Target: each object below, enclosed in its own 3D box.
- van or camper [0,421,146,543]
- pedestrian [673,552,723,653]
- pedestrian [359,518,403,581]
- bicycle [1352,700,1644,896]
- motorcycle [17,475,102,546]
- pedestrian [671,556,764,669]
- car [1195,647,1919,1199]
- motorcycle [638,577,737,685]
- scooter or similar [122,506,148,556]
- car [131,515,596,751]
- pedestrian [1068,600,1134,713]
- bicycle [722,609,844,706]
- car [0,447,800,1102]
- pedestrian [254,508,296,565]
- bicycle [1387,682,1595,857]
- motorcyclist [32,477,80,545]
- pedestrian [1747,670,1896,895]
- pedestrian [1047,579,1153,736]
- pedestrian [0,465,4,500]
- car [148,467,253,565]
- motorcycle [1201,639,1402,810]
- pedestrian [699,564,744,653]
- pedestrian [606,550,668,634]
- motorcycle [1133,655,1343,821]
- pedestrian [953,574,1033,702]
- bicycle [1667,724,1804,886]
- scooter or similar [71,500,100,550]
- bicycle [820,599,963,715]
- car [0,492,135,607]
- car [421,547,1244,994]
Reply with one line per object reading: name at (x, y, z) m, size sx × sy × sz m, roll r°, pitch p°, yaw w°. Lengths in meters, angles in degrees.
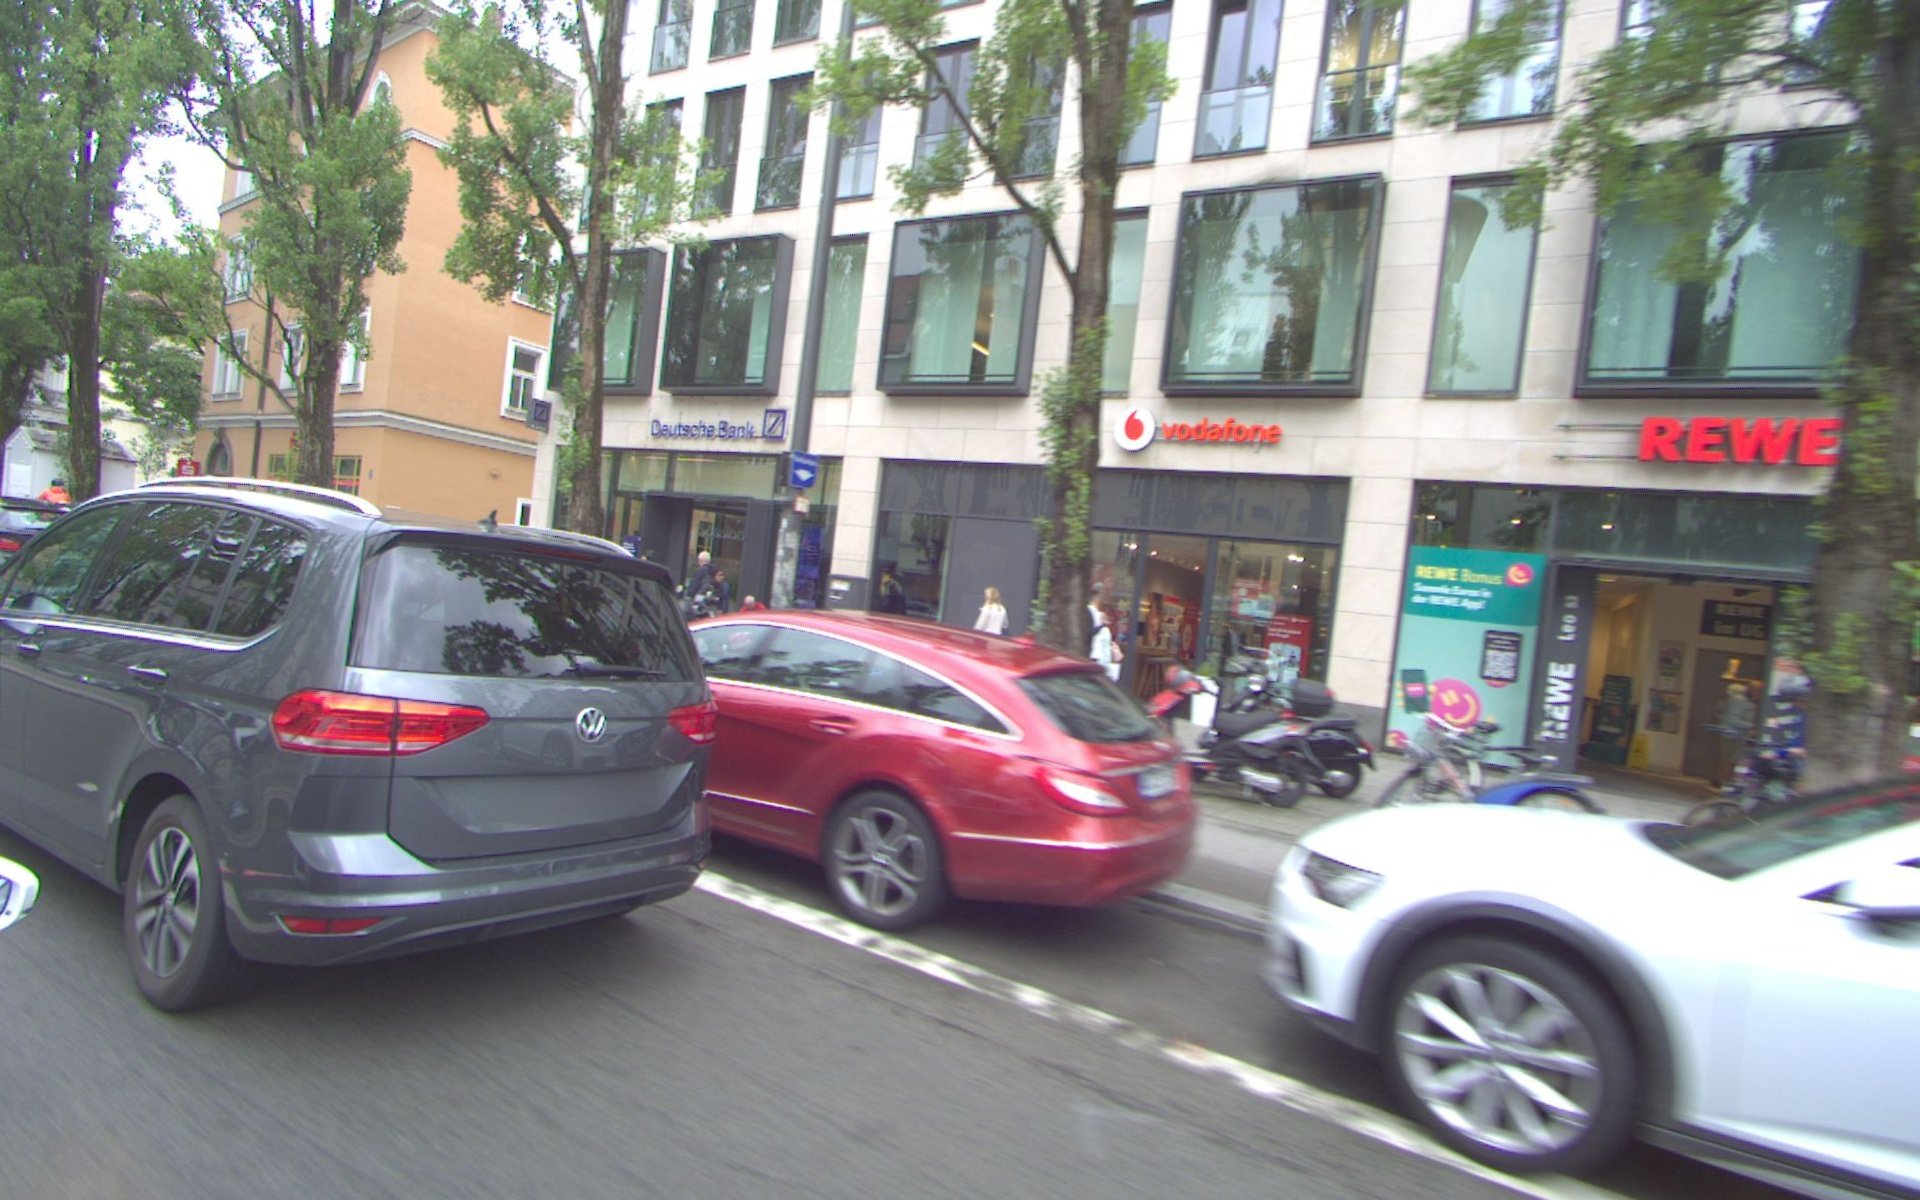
van or camper at (-26.981, -3.587, 30.468) m, size 4.644 × 3.152 × 2.458 m, roll 8°, pitch 2°, yaw 37°
pedestrian at (-4.513, 0.033, 17.288) m, size 0.545 × 1.658 × 0.554 m, roll 6°, pitch 1°, yaw -29°
pedestrian at (-15.430, -1.329, 26.815) m, size 0.701 × 1.571 × 0.606 m, roll 7°, pitch 2°, yaw 9°
bicycle at (3.951, 1.431, 7.555) m, size 1.738 × 1.076 × 0.643 m, roll 7°, pitch 2°, yaw 19°
motorcycle at (-20.462, -2.032, 22.836) m, size 2.216 × 1.388 × 0.826 m, roll 7°, pitch 2°, yaw 33°
pedestrian at (-3.718, 0.191, 15.428) m, size 0.922 × 1.597 × 0.835 m, roll 7°, pitch 2°, yaw 29°
car at (3.393, 1.224, 3.153) m, size 4.727 × 1.520 × 1.811 m, roll 7°, pitch 1°, yaw 33°
motorcycle at (-3.560, 0.374, 13.324) m, size 0.627 × 1.267 × 1.973 m, roll 6°, pitch 1°, yaw 1°
scooter or similar at (-22.405, -1.881, 27.315) m, size 0.483 × 1.249 × 1.154 m, roll 3°, pitch 3°, yaw -41°
car at (-5.548, 0.202, 9.189) m, size 4.353 × 1.446 × 1.848 m, roll 7°, pitch 0°, yaw 33°
pedestrian at (2.192, 0.863, 15.606) m, size 0.704 × 1.642 × 0.796 m, roll 7°, pitch 2°, yaw 19°
bicycle at (-2.214, 0.691, 12.435) m, size 1.738 × 0.953 × 0.432 m, roll 8°, pitch 2°, yaw 42°
car at (-2.924, 0.337, 4.432) m, size 4.115 × 1.633 × 1.763 m, roll 7°, pitch 0°, yaw 33°
pedestrian at (-21.337, -1.988, 31.351) m, size 0.792 × 1.647 × 0.730 m, roll 8°, pitch 2°, yaw 34°
bicycle at (4.540, 1.419, 8.709) m, size 0.540 × 1.205 × 1.445 m, roll 6°, pitch 1°, yaw -24°
motorcyclist at (-20.466, -2.010, 22.784) m, size 0.753 × 1.425 × 0.564 m, roll 8°, pitch 2°, yaw 33°
pedestrian at (6.921, 1.433, 8.085) m, size 0.787 × 1.640 × 0.606 m, roll 5°, pitch 3°, yaw -38°
pedestrian at (1.841, 0.738, 13.217) m, size 0.923 × 1.893 × 0.817 m, roll 8°, pitch 2°, yaw 33°
pedestrian at (-47.670, -5.723, 49.546) m, size 0.699 × 1.895 × 0.756 m, roll 7°, pitch 0°, yaw -44°
car at (-21.550, -2.404, 28.470) m, size 1.893 × 2.358 × 4.767 m, roll 5°, pitch 2°, yaw -41°
motorcycle at (3.271, 1.172, 9.780) m, size 1.612 × 1.374 × 0.688 m, roll 7°, pitch 2°, yaw 9°
pedestrian at (-4.236, 0.147, 17.879) m, size 0.498 × 1.510 × 0.543 m, roll 6°, pitch 1°, yaw -29°
pedestrian at (-6.747, -0.162, 21.020) m, size 0.825 × 1.642 × 0.735 m, roll 8°, pitch 2°, yaw 38°
motorcycle at (2.416, 1.187, 8.932) m, size 1.612 × 1.171 × 0.688 m, roll 7°, pitch 2°, yaw 9°
pedestrian at (0.483, 0.561, 15.027) m, size 0.786 × 1.795 × 0.677 m, roll 6°, pitch 2°, yaw -25°
bicycle at (6.573, 1.681, 8.495) m, size 1.754 × 1.187 × 0.446 m, roll 6°, pitch 2°, yaw -40°
scooter or similar at (-23.287, -2.014, 26.801) m, size 0.522 × 1.249 × 1.459 m, roll 3°, pitch 3°, yaw -40°
bicycle at (-0.869, 0.689, 12.529) m, size 1.686 × 1.203 × 0.455 m, roll 7°, pitch 2°, yaw 29°
car at (-14.278, -0.876, 15.119) m, size 4.362 × 1.412 × 1.733 m, roll 7°, pitch 1°, yaw 35°
car at (-0.945, 0.696, 6.175) m, size 4.723 × 1.468 × 1.933 m, roll 7°, pitch 1°, yaw 31°
